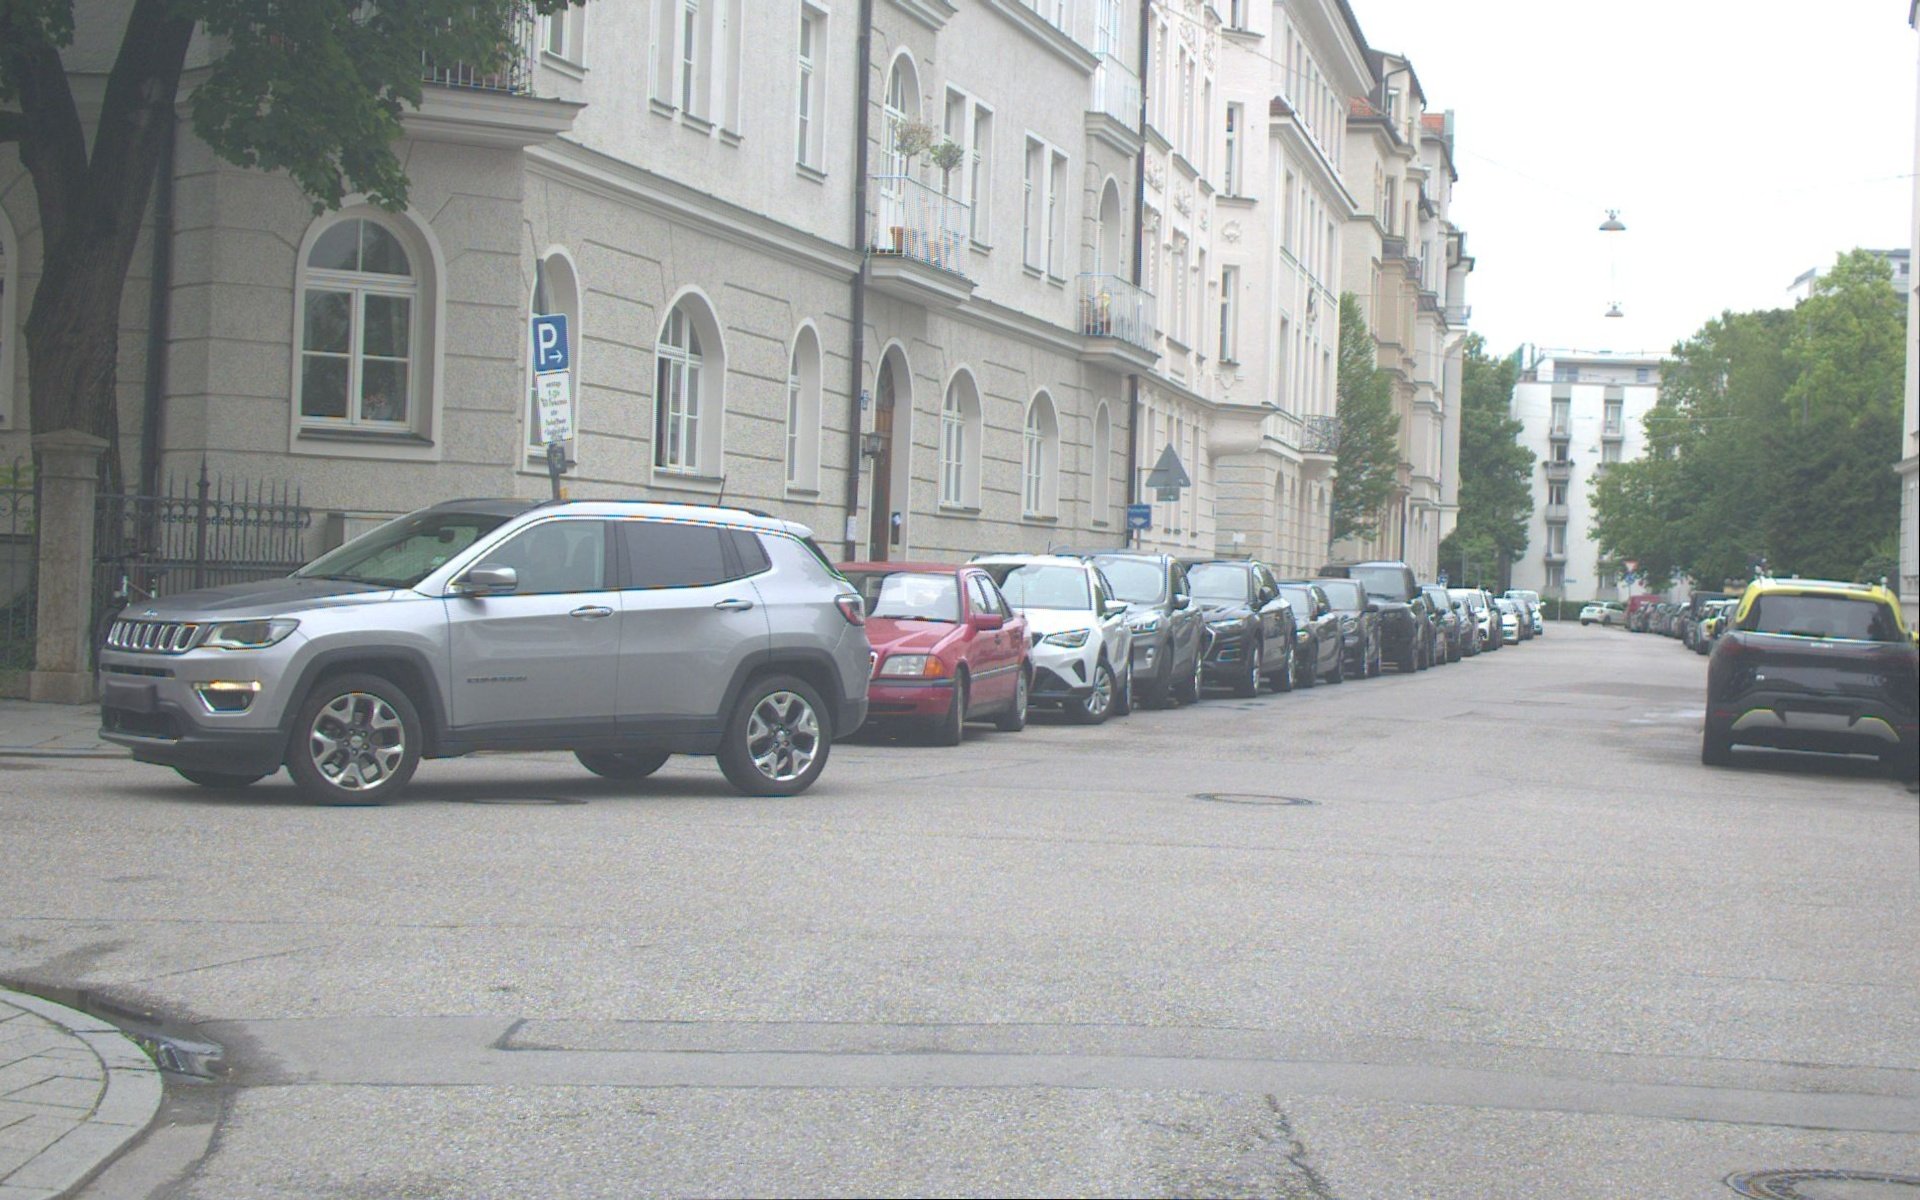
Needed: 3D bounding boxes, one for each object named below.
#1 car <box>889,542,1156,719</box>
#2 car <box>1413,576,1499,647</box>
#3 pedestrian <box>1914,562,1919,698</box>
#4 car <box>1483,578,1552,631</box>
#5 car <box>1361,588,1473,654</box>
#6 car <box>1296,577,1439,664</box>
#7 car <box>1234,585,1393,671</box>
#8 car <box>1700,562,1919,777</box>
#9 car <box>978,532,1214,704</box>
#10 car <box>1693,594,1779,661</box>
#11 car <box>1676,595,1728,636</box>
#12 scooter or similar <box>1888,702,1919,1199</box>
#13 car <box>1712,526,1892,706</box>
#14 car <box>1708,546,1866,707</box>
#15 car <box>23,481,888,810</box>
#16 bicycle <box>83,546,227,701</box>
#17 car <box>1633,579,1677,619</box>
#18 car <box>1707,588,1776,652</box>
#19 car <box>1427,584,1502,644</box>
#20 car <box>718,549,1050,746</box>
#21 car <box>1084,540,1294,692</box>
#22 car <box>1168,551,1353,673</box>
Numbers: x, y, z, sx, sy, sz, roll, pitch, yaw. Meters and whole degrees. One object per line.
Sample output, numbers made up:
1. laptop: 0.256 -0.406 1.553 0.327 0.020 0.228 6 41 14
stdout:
1. car: 0.662 0.246 32.165 1.994 1.468 4.217 2 1 7
2. car: 11.701 0.252 80.952 1.821 1.568 3.998 2 1 10
3. pedestrian: 13.499 0.418 46.998 0.778 1.845 1.022 2 1 14
4. car: 17.445 0.125 107.484 1.994 1.568 3.998 2 1 10
5. car: 9.282 0.401 69.634 1.907 1.218 3.998 2 1 12
6. car: 6.917 0.321 58.058 1.908 1.324 3.998 2 1 13
7. car: 5.559 0.411 53.693 1.908 1.218 3.998 2 1 13
8. car: 7.544 0.558 30.349 1.821 1.630 4.286 5 1 13
9. car: 1.523 0.168 36.933 1.994 1.670 4.011 2 1 9
10. car: 19.651 0.675 87.158 1.907 1.571 3.998 2 1 10
11. car: 30.676 0.626 142.232 1.951 1.646 3.998 1 0 10
12. scooter or similar: 2.942 0.880 8.093 1.352 1.206 0.417 2 1 1
13. car: 9.848 0.168 40.395 1.821 1.864 4.286 5 1 13
14. car: 11.003 0.330 45.877 1.821 1.917 4.181 5 1 13
15. car: -2.712 0.230 19.003 4.296 1.602 1.963 1 1 -40
16. bicycle: -6.007 0.154 25.728 0.493 1.049 1.827 2 3 4
17. car: 36.587 -0.081 180.979 1.994 1.975 4.891 3 1 9
18. car: 26.152 0.647 115.197 1.994 1.975 4.891 3 1 11
19. car: 12.755 0.332 86.818 1.734 1.415 3.998 2 1 10
20. car: -0.515 0.336 27.331 1.731 1.373 4.224 2 1 11
21. car: 2.831 0.167 41.598 1.994 1.670 4.287 2 1 10
22. car: 4.216 0.144 47.718 1.927 1.541 3.997 3 1 14
